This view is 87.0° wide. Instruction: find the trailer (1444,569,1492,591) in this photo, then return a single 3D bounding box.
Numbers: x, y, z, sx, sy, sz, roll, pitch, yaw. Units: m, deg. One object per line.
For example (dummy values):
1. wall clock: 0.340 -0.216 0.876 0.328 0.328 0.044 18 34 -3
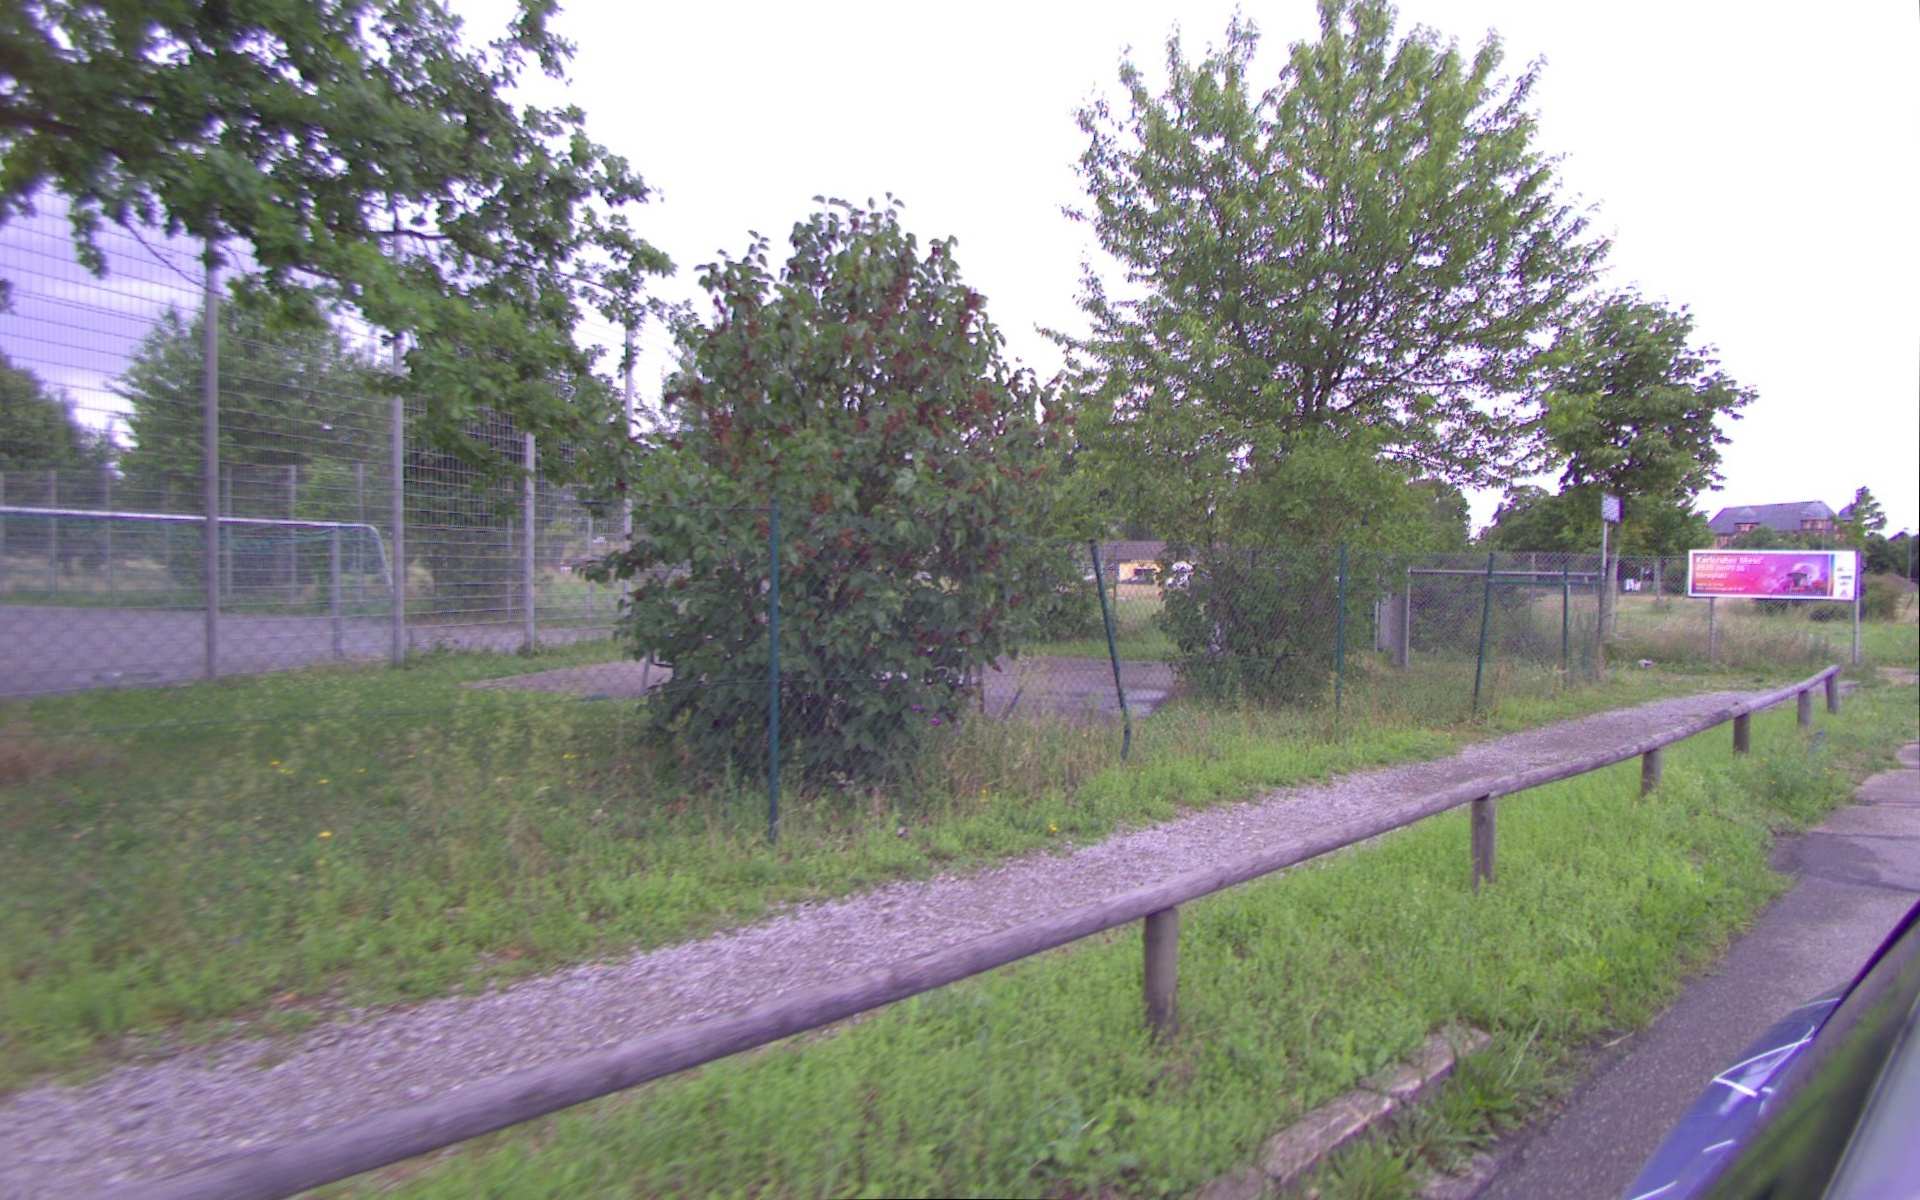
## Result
1. trailer: 49.443 -1.979 98.534 3.945 2.039 1.634 1 1 17
